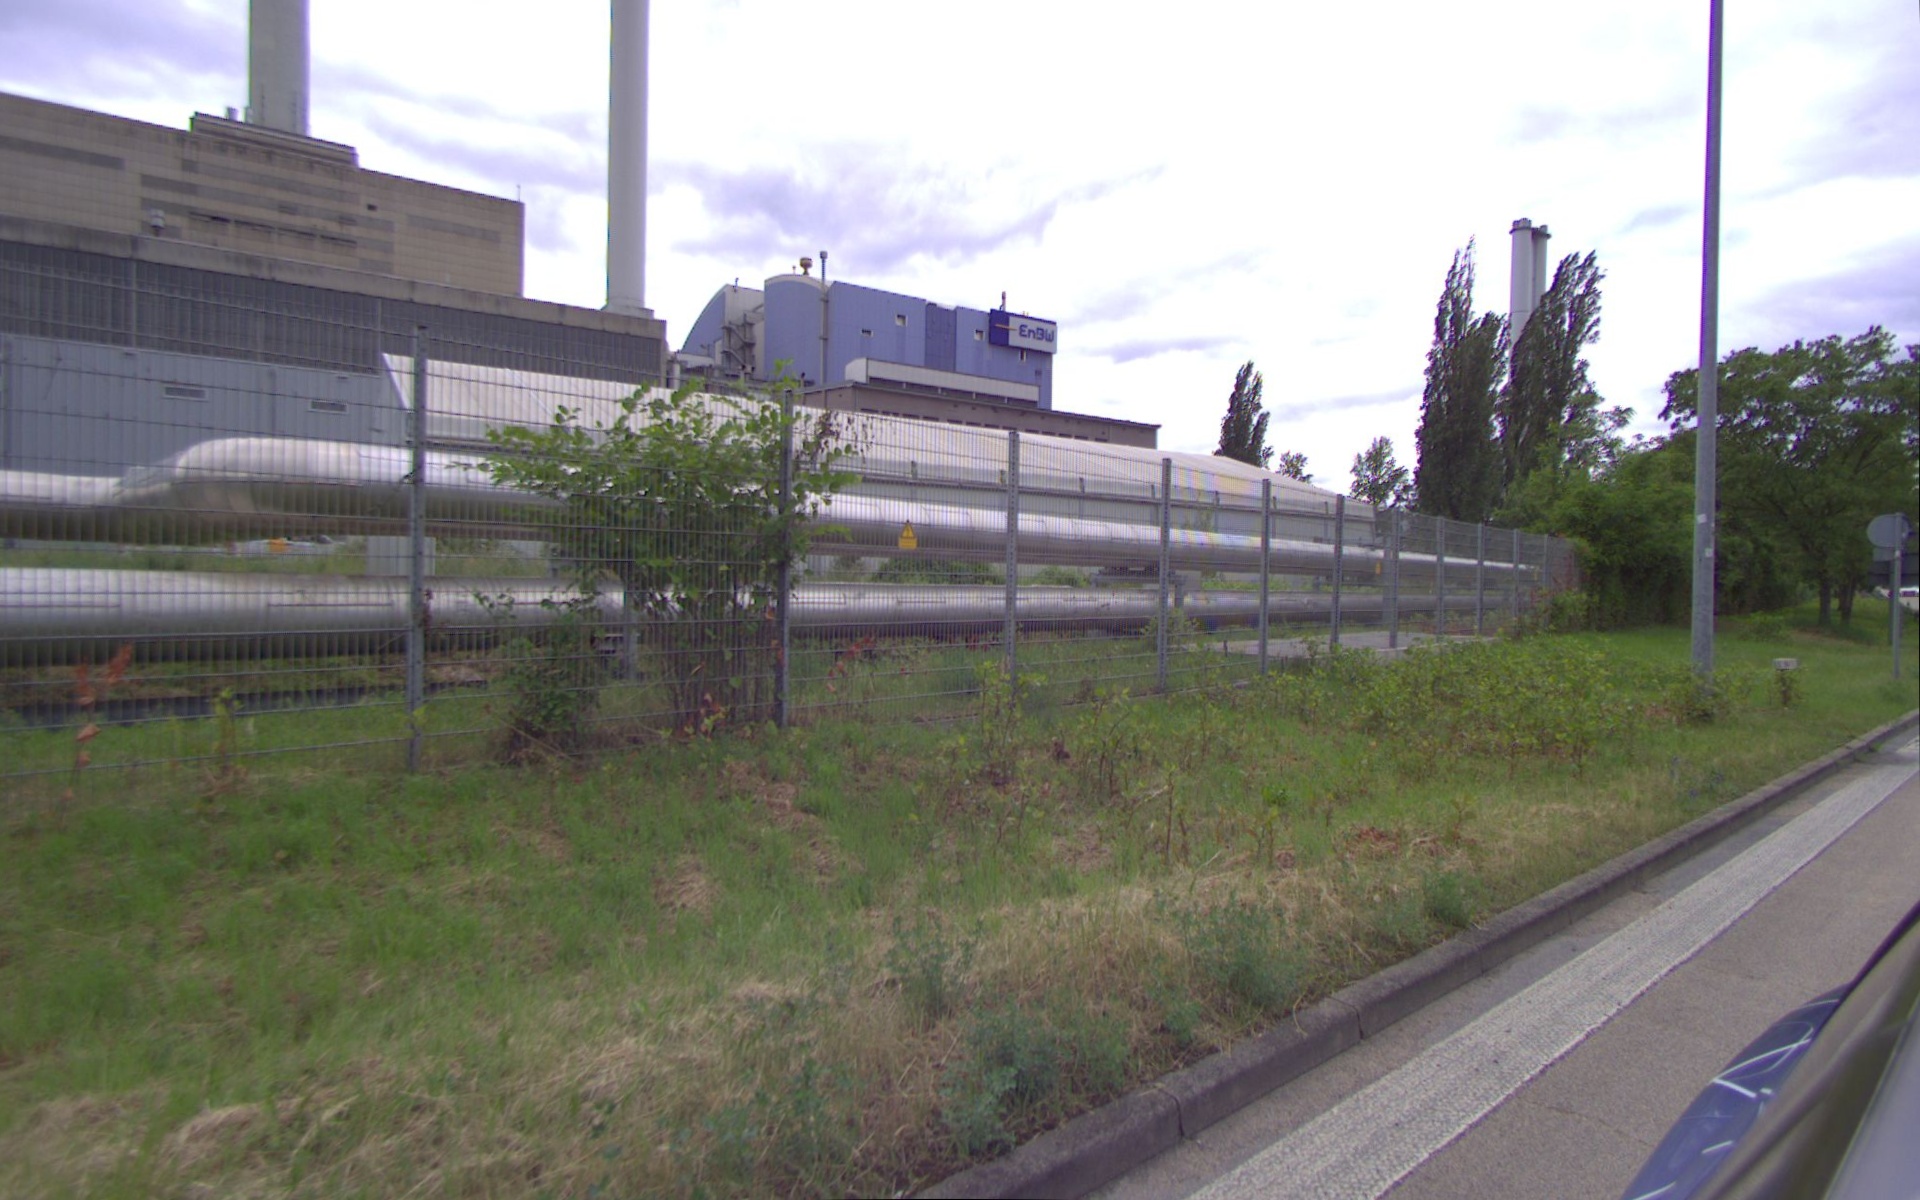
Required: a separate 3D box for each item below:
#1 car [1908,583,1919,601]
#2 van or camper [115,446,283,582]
[{"bbox_3d":[100.741,-0.800,105.824,1.983,1.885,3.885,3,1,38],"label":"car"},{"bbox_3d":[-16.797,-1.753,22.702,2.525,2.580,6.131,0,2,-32],"label":"van or camper"}]
